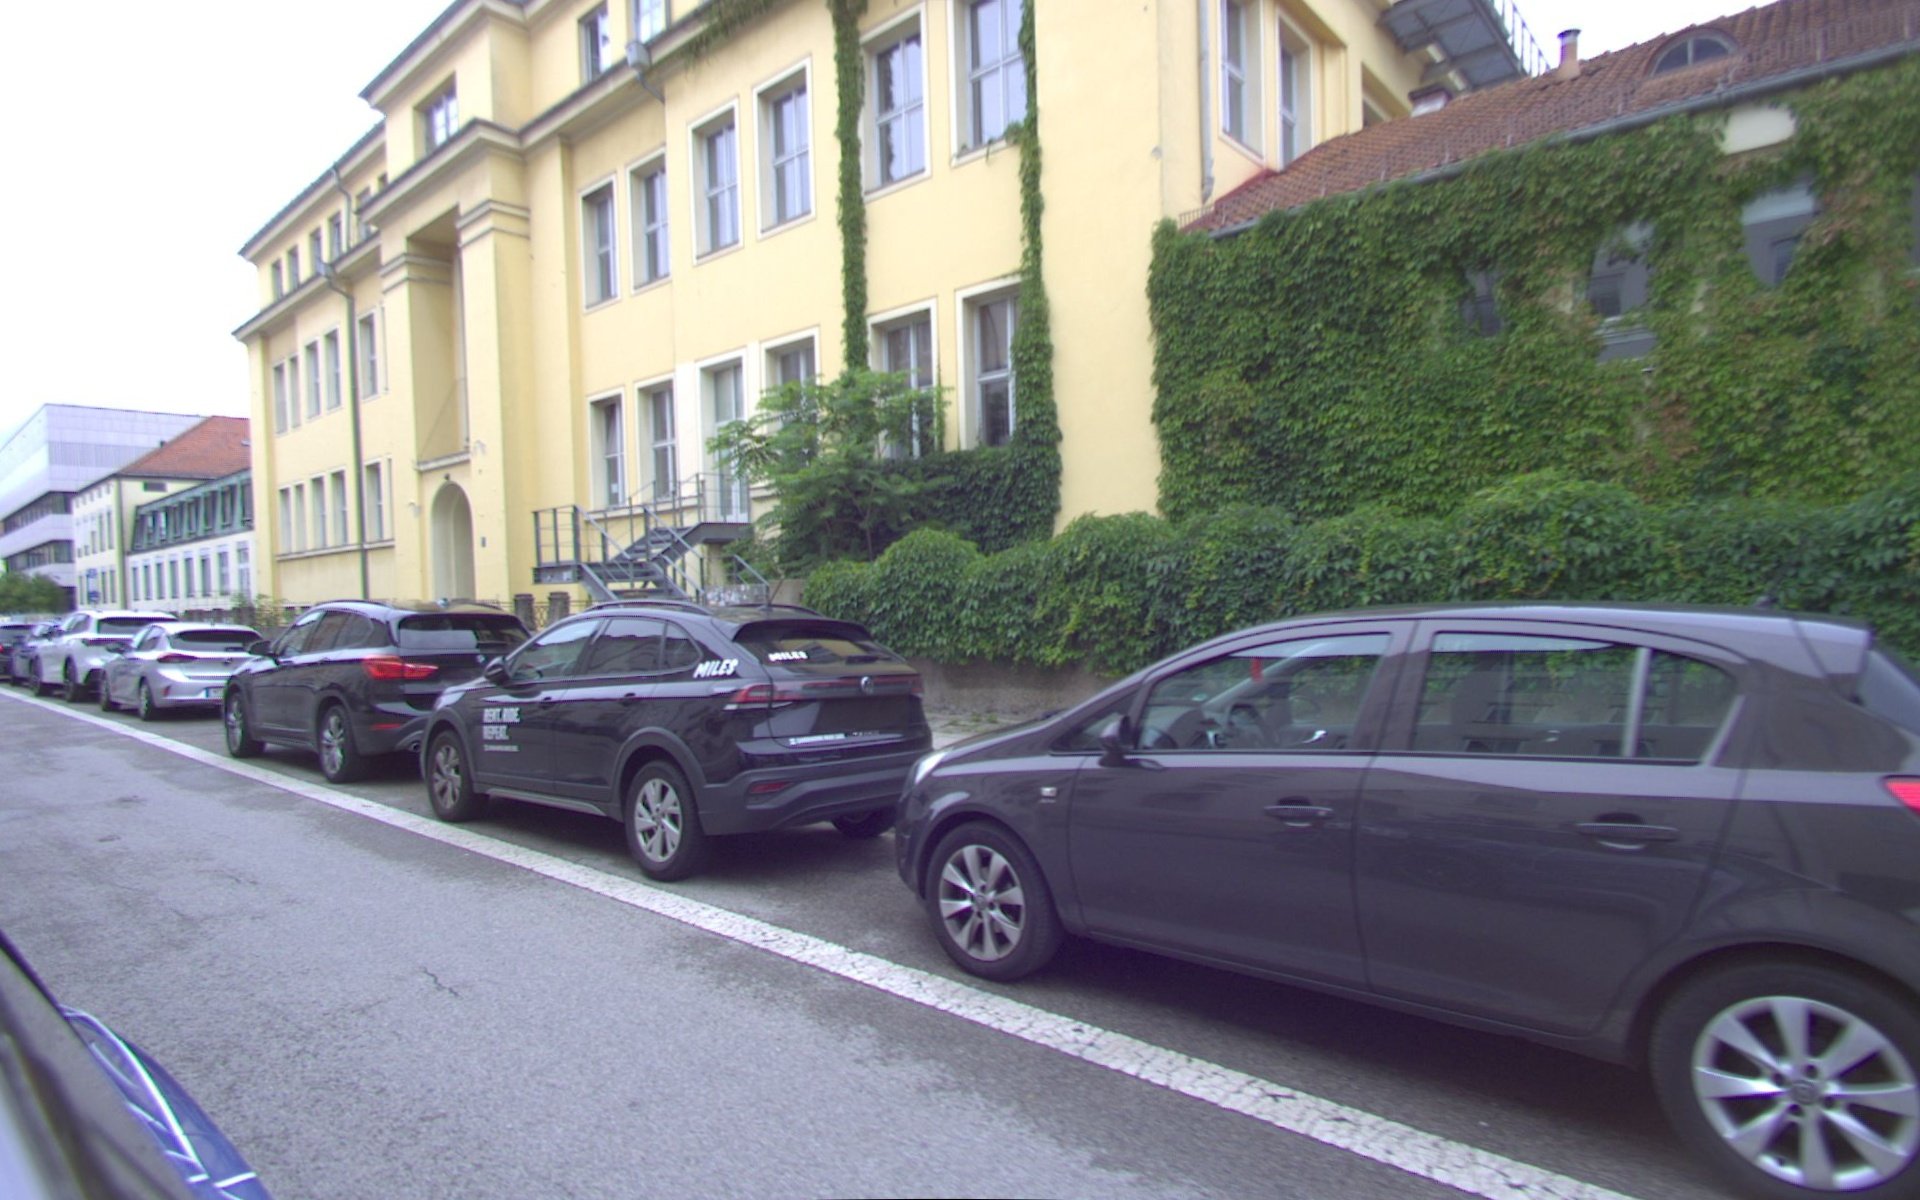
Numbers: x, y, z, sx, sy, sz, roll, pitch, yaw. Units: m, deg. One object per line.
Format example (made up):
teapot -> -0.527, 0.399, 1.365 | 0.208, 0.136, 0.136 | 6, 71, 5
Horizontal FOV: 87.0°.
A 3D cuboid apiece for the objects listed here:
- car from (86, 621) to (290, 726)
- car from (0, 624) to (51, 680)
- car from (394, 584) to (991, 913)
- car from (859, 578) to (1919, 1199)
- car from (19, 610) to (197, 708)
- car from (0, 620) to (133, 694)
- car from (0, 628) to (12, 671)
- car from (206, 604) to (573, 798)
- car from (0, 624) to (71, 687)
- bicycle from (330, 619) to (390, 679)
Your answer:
car -> -12.025, 1.074, 15.688 | 3.891, 1.437, 1.663 | -1, -4, 40
car -> -27.920, 1.477, 29.397 | 4.084, 1.539, 1.705 | -2, -4, 41
car -> -1.963, 0.768, 6.780 | 4.144, 1.550, 1.764 | -2, -3, 39
car -> 1.556, 0.739, 3.675 | 3.901, 1.467, 1.562 | -2, -3, 40
car -> -16.156, 1.082, 19.121 | 4.351, 1.646, 1.664 | -1, -4, 38
car -> -20.155, 1.237, 22.698 | 3.968, 1.516, 1.663 | -2, -2, 39
car -> -33.351, 1.658, 33.971 | 3.992, 1.408, 1.658 | -2, -3, 39
car -> -5.816, 0.875, 10.128 | 4.190, 1.550, 1.764 | -1, -3, 39
car -> -24.001, 1.360, 25.639 | 3.983, 1.507, 1.662 | -1, -3, 41
bicycle -> -12.925, 1.031, 21.782 | 1.561, 1.197, 0.571 | -1, 3, 41
